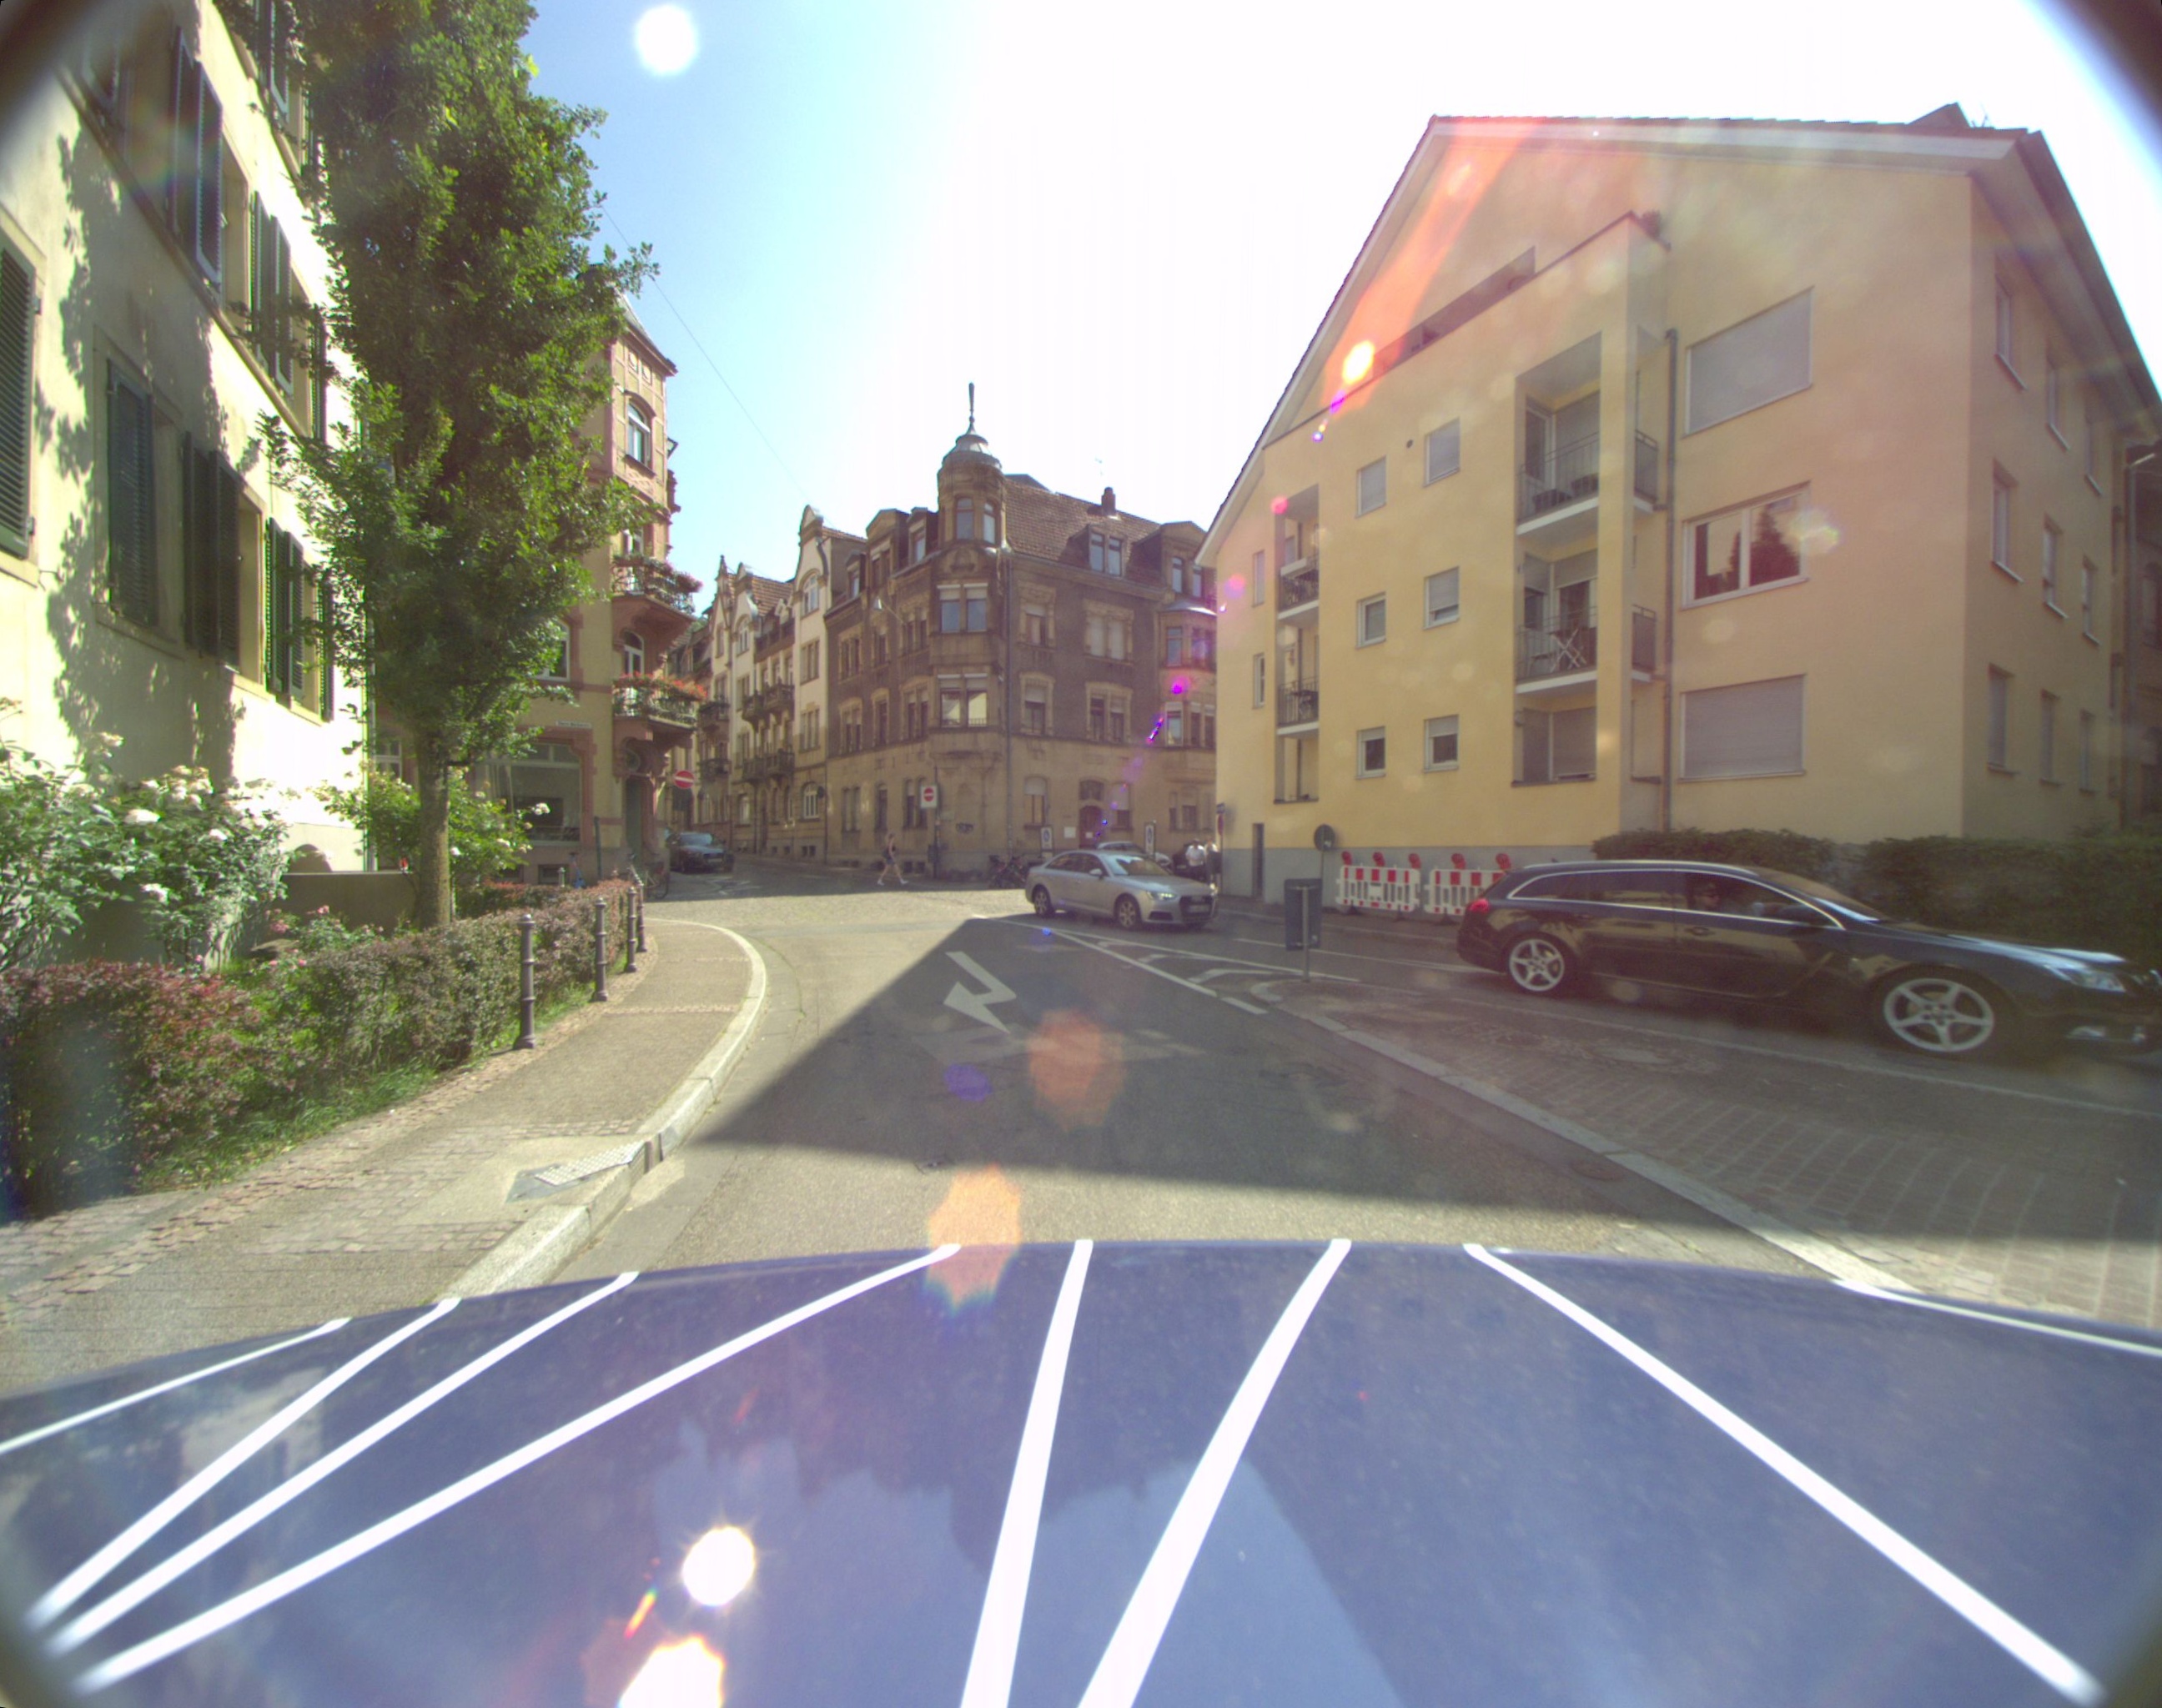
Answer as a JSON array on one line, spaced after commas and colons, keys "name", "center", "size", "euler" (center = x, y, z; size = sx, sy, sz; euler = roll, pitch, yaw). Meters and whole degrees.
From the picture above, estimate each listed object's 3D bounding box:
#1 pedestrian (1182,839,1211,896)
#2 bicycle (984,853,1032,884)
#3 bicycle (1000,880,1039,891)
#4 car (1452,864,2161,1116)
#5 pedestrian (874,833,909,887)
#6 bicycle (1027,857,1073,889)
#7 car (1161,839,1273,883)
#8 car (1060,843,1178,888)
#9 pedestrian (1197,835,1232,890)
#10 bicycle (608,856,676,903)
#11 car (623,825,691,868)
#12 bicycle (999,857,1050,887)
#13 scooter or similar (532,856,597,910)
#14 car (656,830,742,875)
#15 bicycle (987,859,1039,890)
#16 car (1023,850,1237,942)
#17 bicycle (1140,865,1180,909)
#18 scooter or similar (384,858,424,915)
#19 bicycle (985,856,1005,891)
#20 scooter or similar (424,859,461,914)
[{"name": "pedestrian", "center": [3.315, 0.368, 21.832], "size": [0.658, 1.609, 0.491], "euler": [-2, 3, -40]}, {"name": "bicycle", "center": [-2.673, 0.525, 27.758], "size": [1.645, 1.080, 0.494], "euler": [0, 5, -33]}, {"name": "bicycle", "center": [-2.057, 1.057, 25.424], "size": [1.079, 0.286, 1.122], "euler": [0, 1, -18]}, {"name": "car", "center": [6.163, 0.888, 6.948], "size": [1.723, 1.453, 4.711], "euler": [2, 0, -35]}, {"name": "pedestrian", "center": [-6.314, 0.194, 25.335], "size": [0.982, 1.749, 0.621], "euler": [-1, 5, -33]}, {"name": "bicycle", "center": [-1.052, 0.653, 25.790], "size": [1.638, 1.079, 0.286], "euler": [-2, -2, 30]}, {"name": "car", "center": [5.288, 0.245, 29.414], "size": [4.006, 1.535, 1.848], "euler": [-2, 1, -32]}, {"name": "car", "center": [1.395, 0.376, 27.535], "size": [3.935, 1.535, 1.848], "euler": [0, 1, -33]}, {"name": "pedestrian", "center": [4.021, 0.247, 22.853], "size": [0.758, 1.609, 0.689], "euler": [-2, 1, -32]}, {"name": "bicycle", "center": [-11.387, 0.651, 19.689], "size": [1.789, 1.140, 0.506], "euler": [1, 1, 21]}, {"name": "car", "center": [-18.955, -0.398, 33.927], "size": [1.765, 1.697, 3.987], "euler": [-4, 5, -42]}, {"name": "bicycle", "center": [-1.946, 0.613, 26.041], "size": [1.637, 1.084, 0.285], "euler": [2, 46, 47]}, {"name": "scooter or similar", "center": [-12.331, 0.681, 18.157], "size": [0.441, 1.228, 1.193], "euler": [1, 2, 44]}, {"name": "car", "center": [-15.188, -0.133, 30.113], "size": [1.866, 1.574, 4.246], "euler": [-3, 4, -43]}, {"name": "bicycle", "center": [-2.319, 0.685, 25.712], "size": [1.637, 1.084, 0.285], "euler": [2, 46, 47]}, {"name": "car", "center": [0.784, 0.681, 14.903], "size": [1.881, 1.484, 4.371], "euler": [-1, 1, -35]}, {"name": "bicycle", "center": [2.054, 0.841, 20.031], "size": [0.392, 1.073, 1.907], "euler": [0, 1, -15]}, {"name": "scooter or similar", "center": [-15.071, 0.707, 16.908], "size": [1.187, 1.202, 0.343], "euler": [1, 1, 33]}, {"name": "bicycle", "center": [-2.873, 0.637, 25.376], "size": [0.286, 1.080, 1.639], "euler": [-4, 2, -18]}, {"name": "scooter or similar", "center": [-14.621, 0.716, 17.390], "size": [1.231, 1.202, 0.414], "euler": [1, 1, 39]}]
